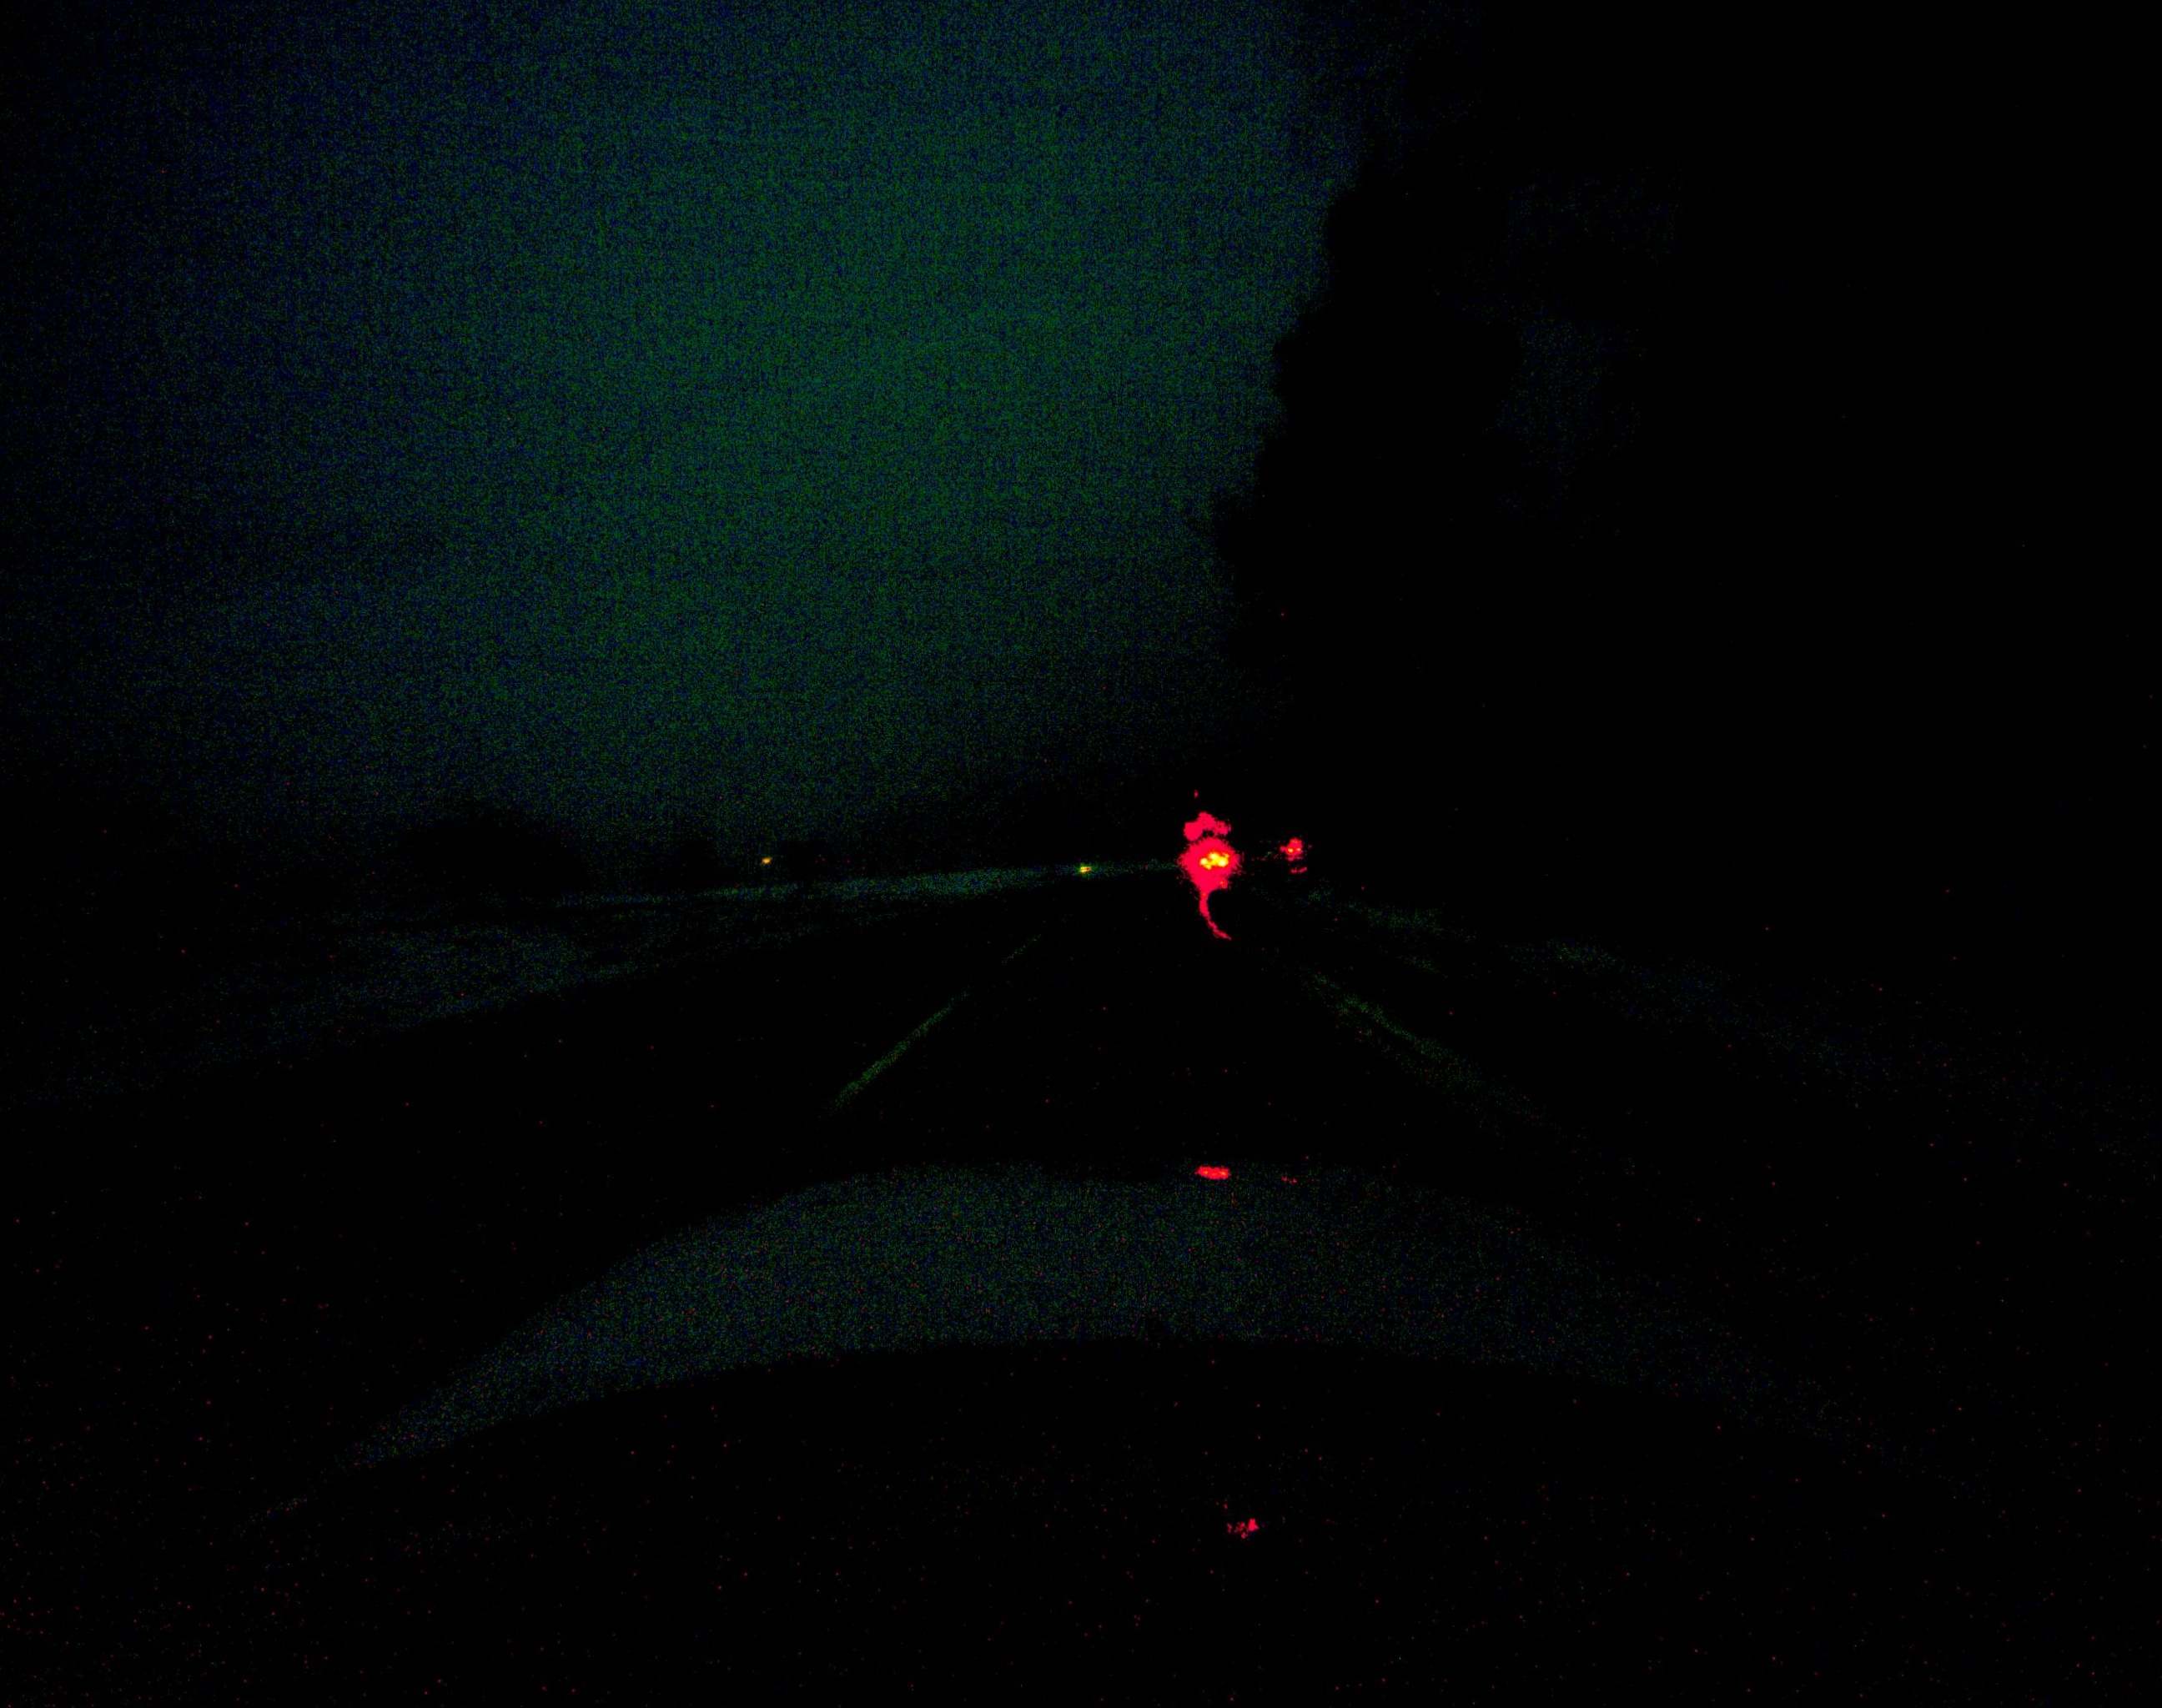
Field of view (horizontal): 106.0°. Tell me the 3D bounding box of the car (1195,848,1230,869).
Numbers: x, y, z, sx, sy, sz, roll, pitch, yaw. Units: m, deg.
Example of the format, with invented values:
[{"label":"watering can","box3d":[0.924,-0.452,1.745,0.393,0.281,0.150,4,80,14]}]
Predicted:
[{"label":"car","box3d":[9.244,0.299,57.118,1.907,1.276,4.018,-2,1,16]}]
